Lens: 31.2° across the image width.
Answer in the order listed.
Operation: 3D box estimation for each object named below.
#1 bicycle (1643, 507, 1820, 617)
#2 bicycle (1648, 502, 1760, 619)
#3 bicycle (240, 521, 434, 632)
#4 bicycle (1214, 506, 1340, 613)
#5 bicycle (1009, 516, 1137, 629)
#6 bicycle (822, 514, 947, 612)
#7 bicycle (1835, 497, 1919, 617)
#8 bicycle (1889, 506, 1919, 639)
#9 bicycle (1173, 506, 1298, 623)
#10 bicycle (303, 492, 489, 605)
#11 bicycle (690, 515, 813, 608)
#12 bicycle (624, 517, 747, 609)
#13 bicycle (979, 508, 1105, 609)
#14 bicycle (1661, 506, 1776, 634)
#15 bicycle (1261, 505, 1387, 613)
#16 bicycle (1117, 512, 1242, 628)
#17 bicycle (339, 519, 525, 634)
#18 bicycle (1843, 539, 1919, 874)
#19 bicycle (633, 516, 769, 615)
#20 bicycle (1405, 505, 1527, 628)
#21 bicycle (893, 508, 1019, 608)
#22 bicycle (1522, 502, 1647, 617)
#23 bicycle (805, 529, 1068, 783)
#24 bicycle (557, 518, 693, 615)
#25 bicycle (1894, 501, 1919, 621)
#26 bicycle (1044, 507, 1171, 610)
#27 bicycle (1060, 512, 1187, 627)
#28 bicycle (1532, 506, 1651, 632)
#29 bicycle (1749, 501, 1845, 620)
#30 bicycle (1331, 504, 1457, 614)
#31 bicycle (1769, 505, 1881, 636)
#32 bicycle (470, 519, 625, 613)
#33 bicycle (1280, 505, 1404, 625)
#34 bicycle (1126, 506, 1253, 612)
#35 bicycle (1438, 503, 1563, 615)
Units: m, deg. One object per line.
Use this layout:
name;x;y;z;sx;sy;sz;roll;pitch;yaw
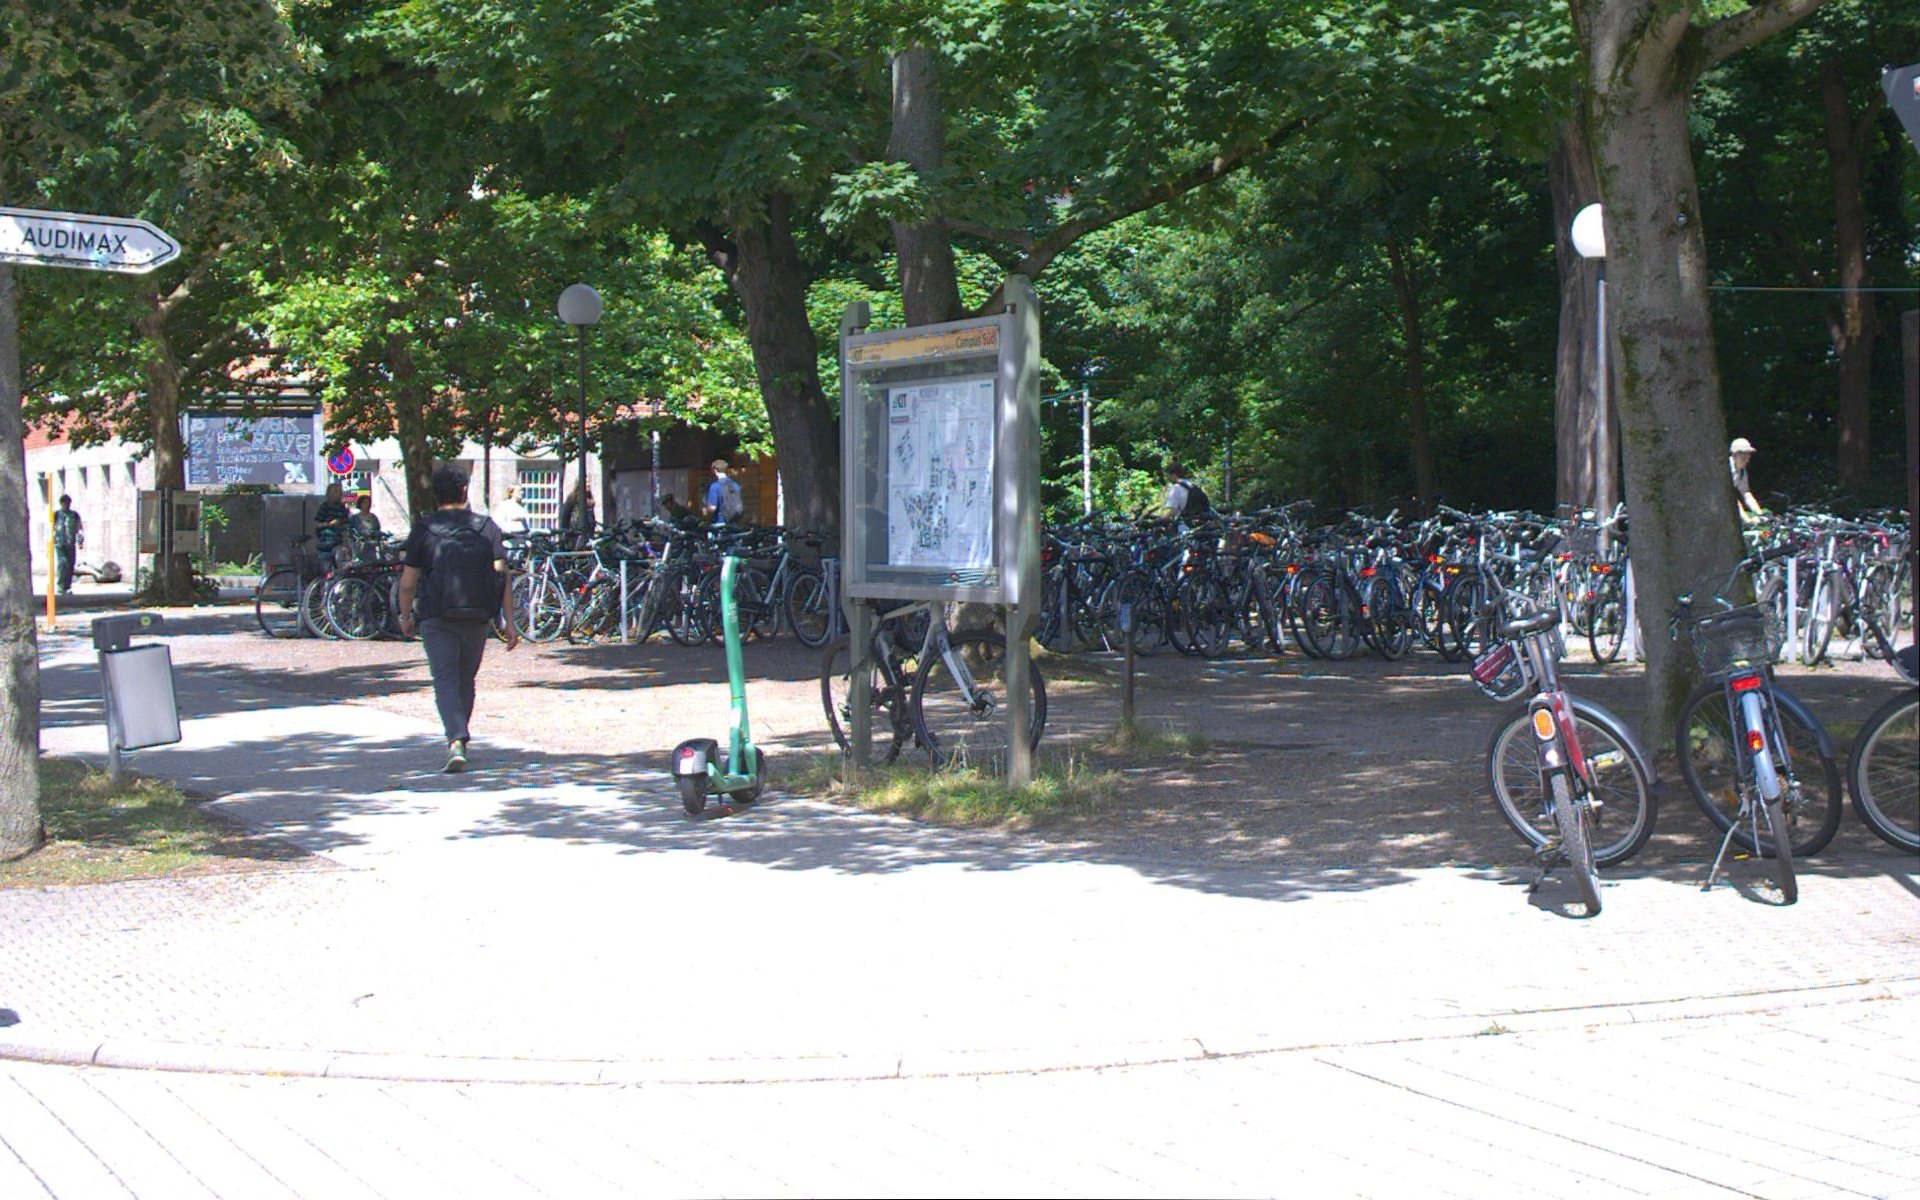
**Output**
bicycle;7.927;-0.401;35.374;1.698;1.080;0.602;3;3;44
bicycle;7.185;-0.395;33.154;0.473;1.080;1.696;2;3;33
bicycle;-6.435;-0.260;35.578;2.025;1.104;0.502;-2;3;-42
bicycle;3.332;-0.441;36.045;0.473;1.080;1.696;2;3;37
bicycle;1.139;-0.289;34.214;0.473;1.080;1.856;2;2;29
bicycle;-0.853;-0.438;39.235;0.473;1.080;1.696;2;3;37
bicycle;8.620;-0.419;32.113;0.473;1.080;1.697;2;2;27
bicycle;8.347;-0.251;29.137;0.473;1.080;1.856;2;2;29
bicycle;2.679;-0.358;33.257;0.473;1.080;1.856;2;2;29
bicycle;-5.678;-0.533;34.697;0.502;1.104;2.026;2;3;39
bicycle;-2.493;-0.472;41.242;0.473;1.080;1.696;2;3;37
bicycle;-3.326;-0.457;41.821;0.473;1.080;1.696;2;3;37
bicycle;0.912;-0.472;37.914;0.473;1.080;1.696;2;3;37
bicycle;6.718;-0.279;30.406;0.473;1.080;1.856;2;2;29
bicycle;3.783;-0.442;35.650;0.473;1.080;1.696;2;3;37
bicycle;2.160;-0.310;33.671;0.473;1.080;1.856;2;2;29
bicycle;-5.266;-0.250;34.382;0.502;1.104;2.026;2;3;39
bicycle;3.600;0.365;11.161;0.495;1.104;1.630;-3;3;-24
bicycle;-2.936;-0.401;39.107;0.473;1.080;1.855;2;3;35
bicycle;4.646;-0.324;31.467;0.473;1.080;1.856;2;2;29
bicycle;-0.033;-0.480;38.486;0.473;1.080;1.696;2;3;37
bicycle;6.132;-0.411;33.688;0.473;1.080;1.696;2;3;37
bicycle;-0.139;0.233;16.322;0.392;1.104;1.840;-1;3;-30
bicycle;-3.879;-0.398;39.877;0.473;1.080;1.855;2;3;35
bicycle;9.112;-0.374;31.930;0.473;1.080;1.697;2;2;27
bicycle;1.601;-0.460;37.116;0.473;1.080;1.696;2;3;37
bicycle;1.627;-0.316;33.852;0.473;1.080;1.856;2;2;29
bicycle;5.679;-0.297;30.836;0.473;1.080;1.856;2;2;29
bicycle;7.945;-0.387;32.595;0.473;1.080;1.697;2;2;27
bicycle;4.455;-0.433;35.208;0.473;1.080;1.696;2;3;37
bicycle;7.510;-0.272;29.802;0.473;1.080;1.856;2;2;29
bicycle;-4.849;-0.411;40.493;1.854;1.080;0.474;-1;3;-40
bicycle;3.598;-0.343;32.252;0.473;1.080;1.856;2;2;29
bicycle;2.440;-0.449;36.430;0.473;1.080;1.696;2;3;37
bicycle;5.425;-0.420;34.430;0.473;1.080;1.696;2;3;37
